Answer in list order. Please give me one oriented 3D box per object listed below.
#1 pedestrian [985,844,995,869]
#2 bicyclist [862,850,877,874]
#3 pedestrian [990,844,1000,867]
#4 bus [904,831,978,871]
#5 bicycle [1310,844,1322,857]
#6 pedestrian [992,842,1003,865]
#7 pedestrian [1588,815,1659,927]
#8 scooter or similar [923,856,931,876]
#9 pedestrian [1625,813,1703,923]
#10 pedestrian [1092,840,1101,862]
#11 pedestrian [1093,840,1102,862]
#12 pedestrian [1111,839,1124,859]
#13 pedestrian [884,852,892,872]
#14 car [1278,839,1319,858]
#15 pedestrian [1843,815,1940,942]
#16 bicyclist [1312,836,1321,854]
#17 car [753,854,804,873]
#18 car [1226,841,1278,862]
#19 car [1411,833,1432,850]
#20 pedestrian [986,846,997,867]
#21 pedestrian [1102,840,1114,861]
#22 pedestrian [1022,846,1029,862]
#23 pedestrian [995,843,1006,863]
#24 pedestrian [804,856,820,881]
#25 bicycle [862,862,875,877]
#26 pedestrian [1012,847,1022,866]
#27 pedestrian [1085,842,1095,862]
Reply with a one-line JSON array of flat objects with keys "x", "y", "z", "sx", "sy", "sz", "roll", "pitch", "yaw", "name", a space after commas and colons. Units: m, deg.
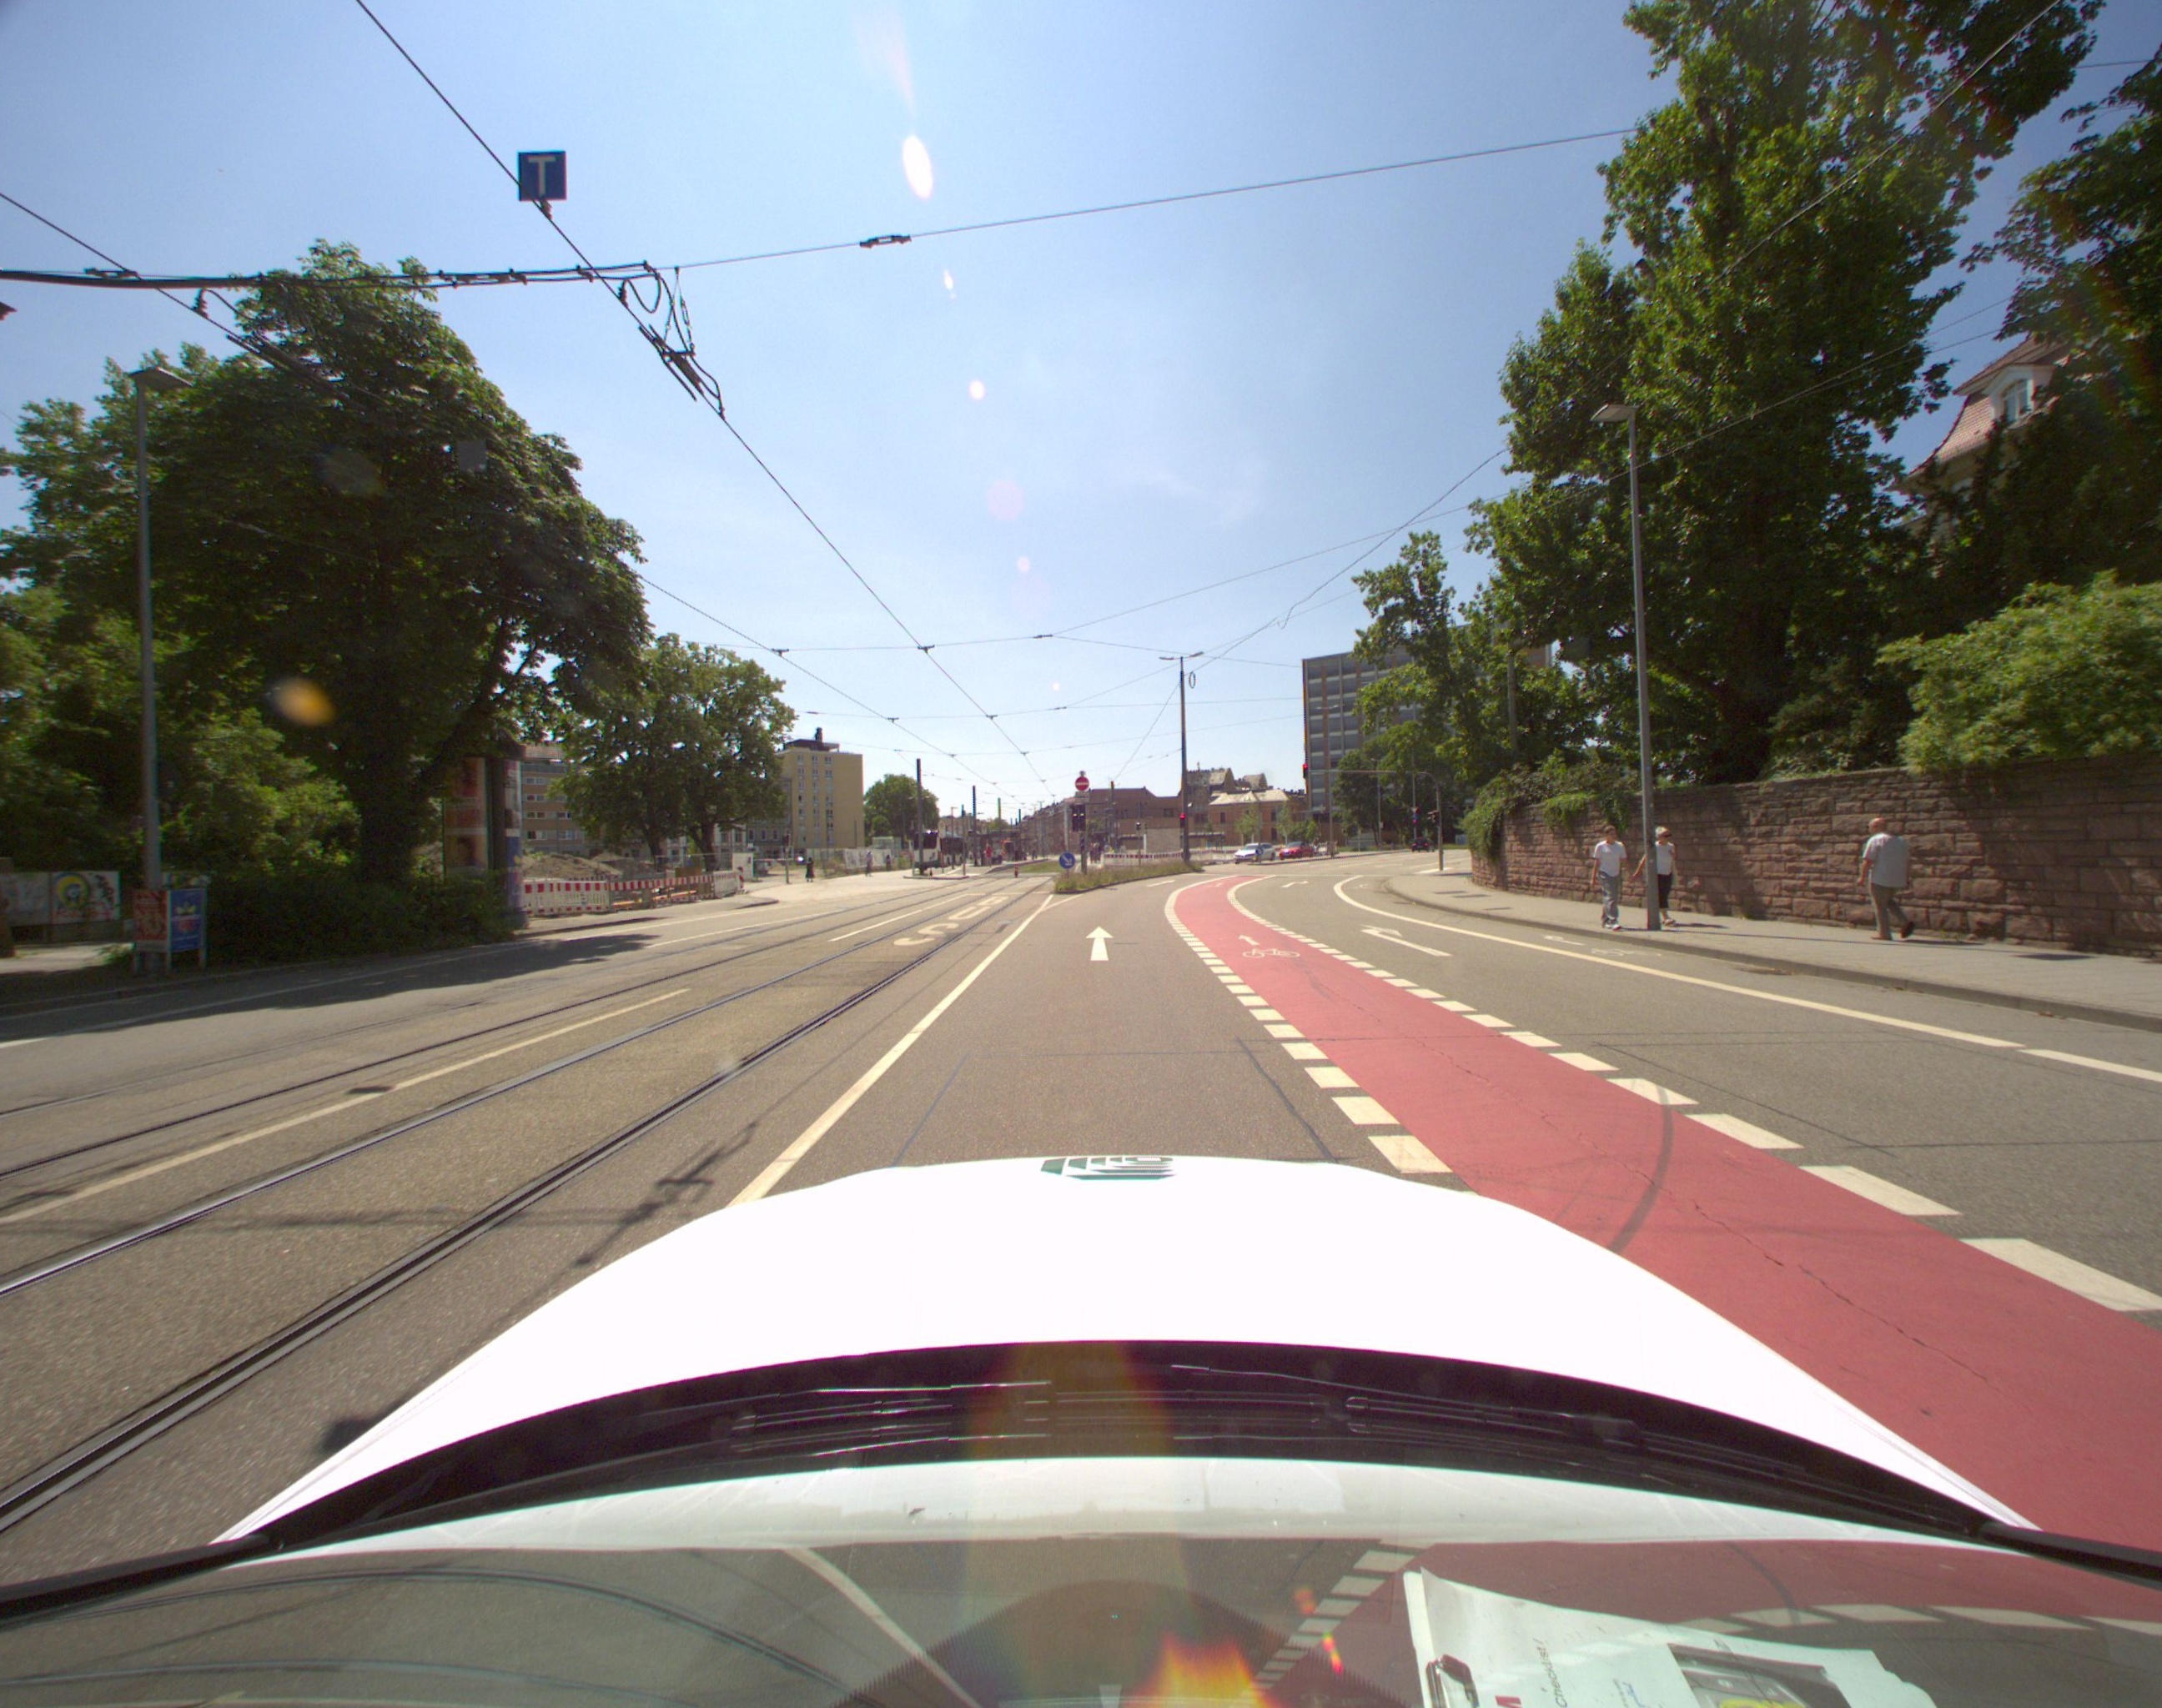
[{"x": -7.126, "y": 0.196, "z": 63.833, "sx": 0.672, "sy": 1.909, "sz": 0.639, "roll": -2, "pitch": 1, "yaw": -9, "name": "pedestrian"}, {"x": -15.314, "y": 0.584, "z": 58.953, "sx": 0.819, "sy": 1.709, "sz": 0.769, "roll": -2, "pitch": 1, "yaw": -4, "name": "bicyclist"}, {"x": -7.945, "y": 0.115, "z": 75.278, "sx": 0.824, "sy": 2.096, "sz": 0.639, "roll": -2, "pitch": 1, "yaw": -10, "name": "pedestrian"}, {"x": -12.425, "y": -0.307, "z": 74.604, "sx": 2.999, "sy": 3.157, "sz": 17.507, "roll": -2, "pitch": 0, "yaw": 2, "name": "bus"}, {"x": 22.008, "y": -0.320, "z": 76.113, "sx": 0.394, "sy": 1.174, "sz": 1.782, "roll": -2, "pitch": 0, "yaw": 39, "name": "bicycle"}, {"x": -7.806, "y": -0.036, "z": 76.150, "sx": 0.899, "sy": 2.096, "sz": 0.829, "roll": -2, "pitch": 1, "yaw": -10, "name": "pedestrian"}, {"x": 9.083, "y": 0.273, "z": 13.664, "sx": 0.674, "sy": 1.808, "sz": 0.749, "roll": -2, "pitch": 1, "yaw": 5, "name": "pedestrian"}, {"x": -9.489, "y": 0.714, "z": 50.203, "sx": 0.318, "sy": 1.206, "sz": 1.247, "roll": -2, "pitch": 1, "yaw": -3, "name": "scooter or similar"}, {"x": 9.994, "y": 0.232, "z": 13.982, "sx": 0.810, "sy": 1.808, "sz": 0.701, "roll": -2, "pitch": 1, "yaw": 5, "name": "pedestrian"}, {"x": 1.395, "y": -0.267, "z": 71.484, "sx": 0.656, "sy": 1.831, "sz": 0.758, "roll": -2, "pitch": 1, "yaw": -6, "name": "pedestrian"}, {"x": 1.452, "y": -0.234, "z": 72.430, "sx": 0.717, "sy": 1.923, "sz": 1.073, "roll": -1, "pitch": 0, "yaw": -4, "name": "pedestrian"}, {"x": 3.264, "y": -0.454, "z": 73.188, "sx": 0.978, "sy": 1.832, "sz": 0.631, "roll": -2, "pitch": 1, "yaw": -13, "name": "pedestrian"}, {"x": -16.978, "y": 0.730, "z": 71.680, "sx": 0.565, "sy": 1.705, "sz": 0.397, "roll": -2, "pitch": 1, "yaw": -6, "name": "pedestrian"}, {"x": 17.961, "y": -0.493, "z": 67.172, "sx": 1.714, "sy": 1.424, "sz": 4.150, "roll": -2, "pitch": 0, "yaw": 38, "name": "car"}, {"x": 10.937, "y": 0.318, "z": 11.009, "sx": 0.657, "sy": 1.647, "sz": 0.625, "roll": -2, "pitch": 1, "yaw": 6, "name": "pedestrian"}, {"x": 22.058, "y": -0.850, "z": 76.181, "sx": 0.561, "sy": 1.719, "sz": 0.510, "roll": -2, "pitch": 1, "yaw": 42, "name": "bicyclist"}, {"x": -28.821, "y": 0.928, "z": 77.698, "sx": 4.153, "sy": 1.649, "sz": 1.858, "roll": -2, "pitch": 1, "yaw": 13, "name": "car"}, {"x": 12.704, "y": -0.197, "z": 60.364, "sx": 1.974, "sy": 1.438, "sz": 4.736, "roll": -2, "pitch": 0, "yaw": 36, "name": "car"}, {"x": 34.217, "y": -1.281, "z": 81.904, "sx": 1.673, "sy": 1.526, "sz": 3.712, "roll": -2, "pitch": 1, "yaw": 26, "name": "car"}, {"x": -7.985, "y": 0.243, "z": 72.929, "sx": 0.911, "sy": 1.851, "sz": 0.656, "roll": -2, "pitch": 1, "yaw": -9, "name": "pedestrian"}, {"x": 2.370, "y": -0.308, "z": 71.965, "sx": 0.771, "sy": 1.864, "sz": 0.722, "roll": -1, "pitch": 0, "yaw": -40, "name": "pedestrian"}, {"x": -7.244, "y": -0.021, "z": 106.424, "sx": 0.826, "sy": 2.096, "sz": 0.902, "roll": -2, "pitch": 1, "yaw": 0, "name": "pedestrian"}, {"x": -8.353, "y": -0.115, "z": 84.351, "sx": 0.894, "sy": 2.096, "sz": 0.833, "roll": -2, "pitch": 1, "yaw": 6, "name": "pedestrian"}, {"x": -17.737, "y": 0.972, "z": 53.694, "sx": 0.602, "sy": 1.602, "sz": 0.828, "roll": -2, "pitch": 1, "yaw": 11, "name": "pedestrian"}, {"x": -15.377, "y": 1.109, "z": 58.966, "sx": 0.502, "sy": 0.914, "sz": 2.367, "roll": -2, "pitch": 2, "yaw": -4, "name": "bicycle"}, {"x": -7.272, "y": 0.259, "z": 92.298, "sx": 0.894, "sy": 2.096, "sz": 0.833, "roll": -2, "pitch": 1, "yaw": 6, "name": "pedestrian"}, {"x": 0.768, "y": -0.210, "z": 70.767, "sx": 0.726, "sy": 1.706, "sz": 0.741, "roll": -1, "pitch": 0, "yaw": -10, "name": "pedestrian"}]
